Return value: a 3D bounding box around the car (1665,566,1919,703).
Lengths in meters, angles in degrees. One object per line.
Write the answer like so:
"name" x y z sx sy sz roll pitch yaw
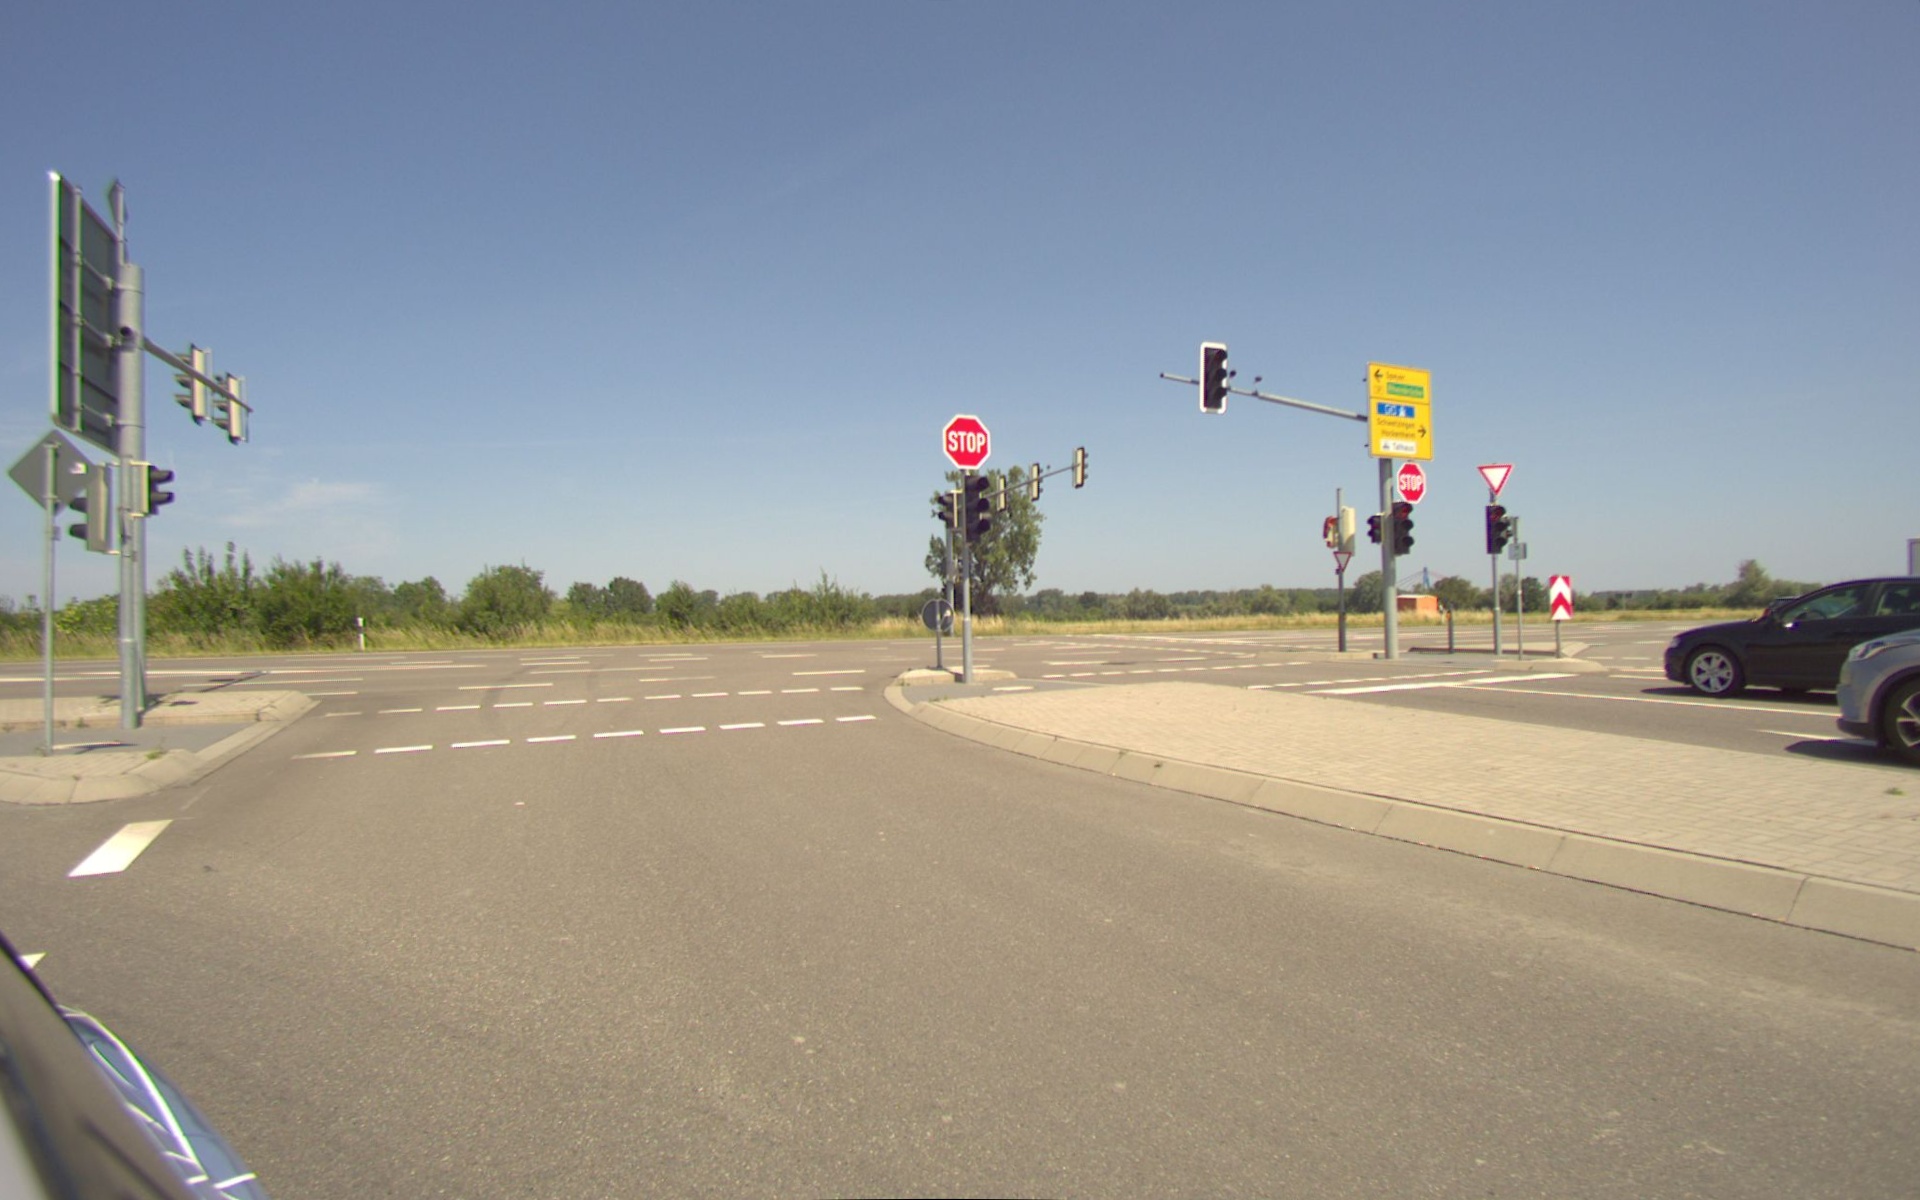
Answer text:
"car" 10.348 0.329 10.812 1.745 1.379 4.288 -2 -2 -23

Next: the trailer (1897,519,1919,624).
"trailer" 48.065 -1.296 46.272 12.648 4.577 3.403 0 0 -27

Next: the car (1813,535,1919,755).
"car" 8.210 0.278 5.929 1.839 1.555 4.566 -2 0 -20

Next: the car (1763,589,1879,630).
"car" 32.884 0.333 38.627 4.305 1.441 1.796 -1 0 -26

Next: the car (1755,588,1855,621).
"car" 39.094 0.225 46.826 4.447 1.458 1.901 0 -1 -26
